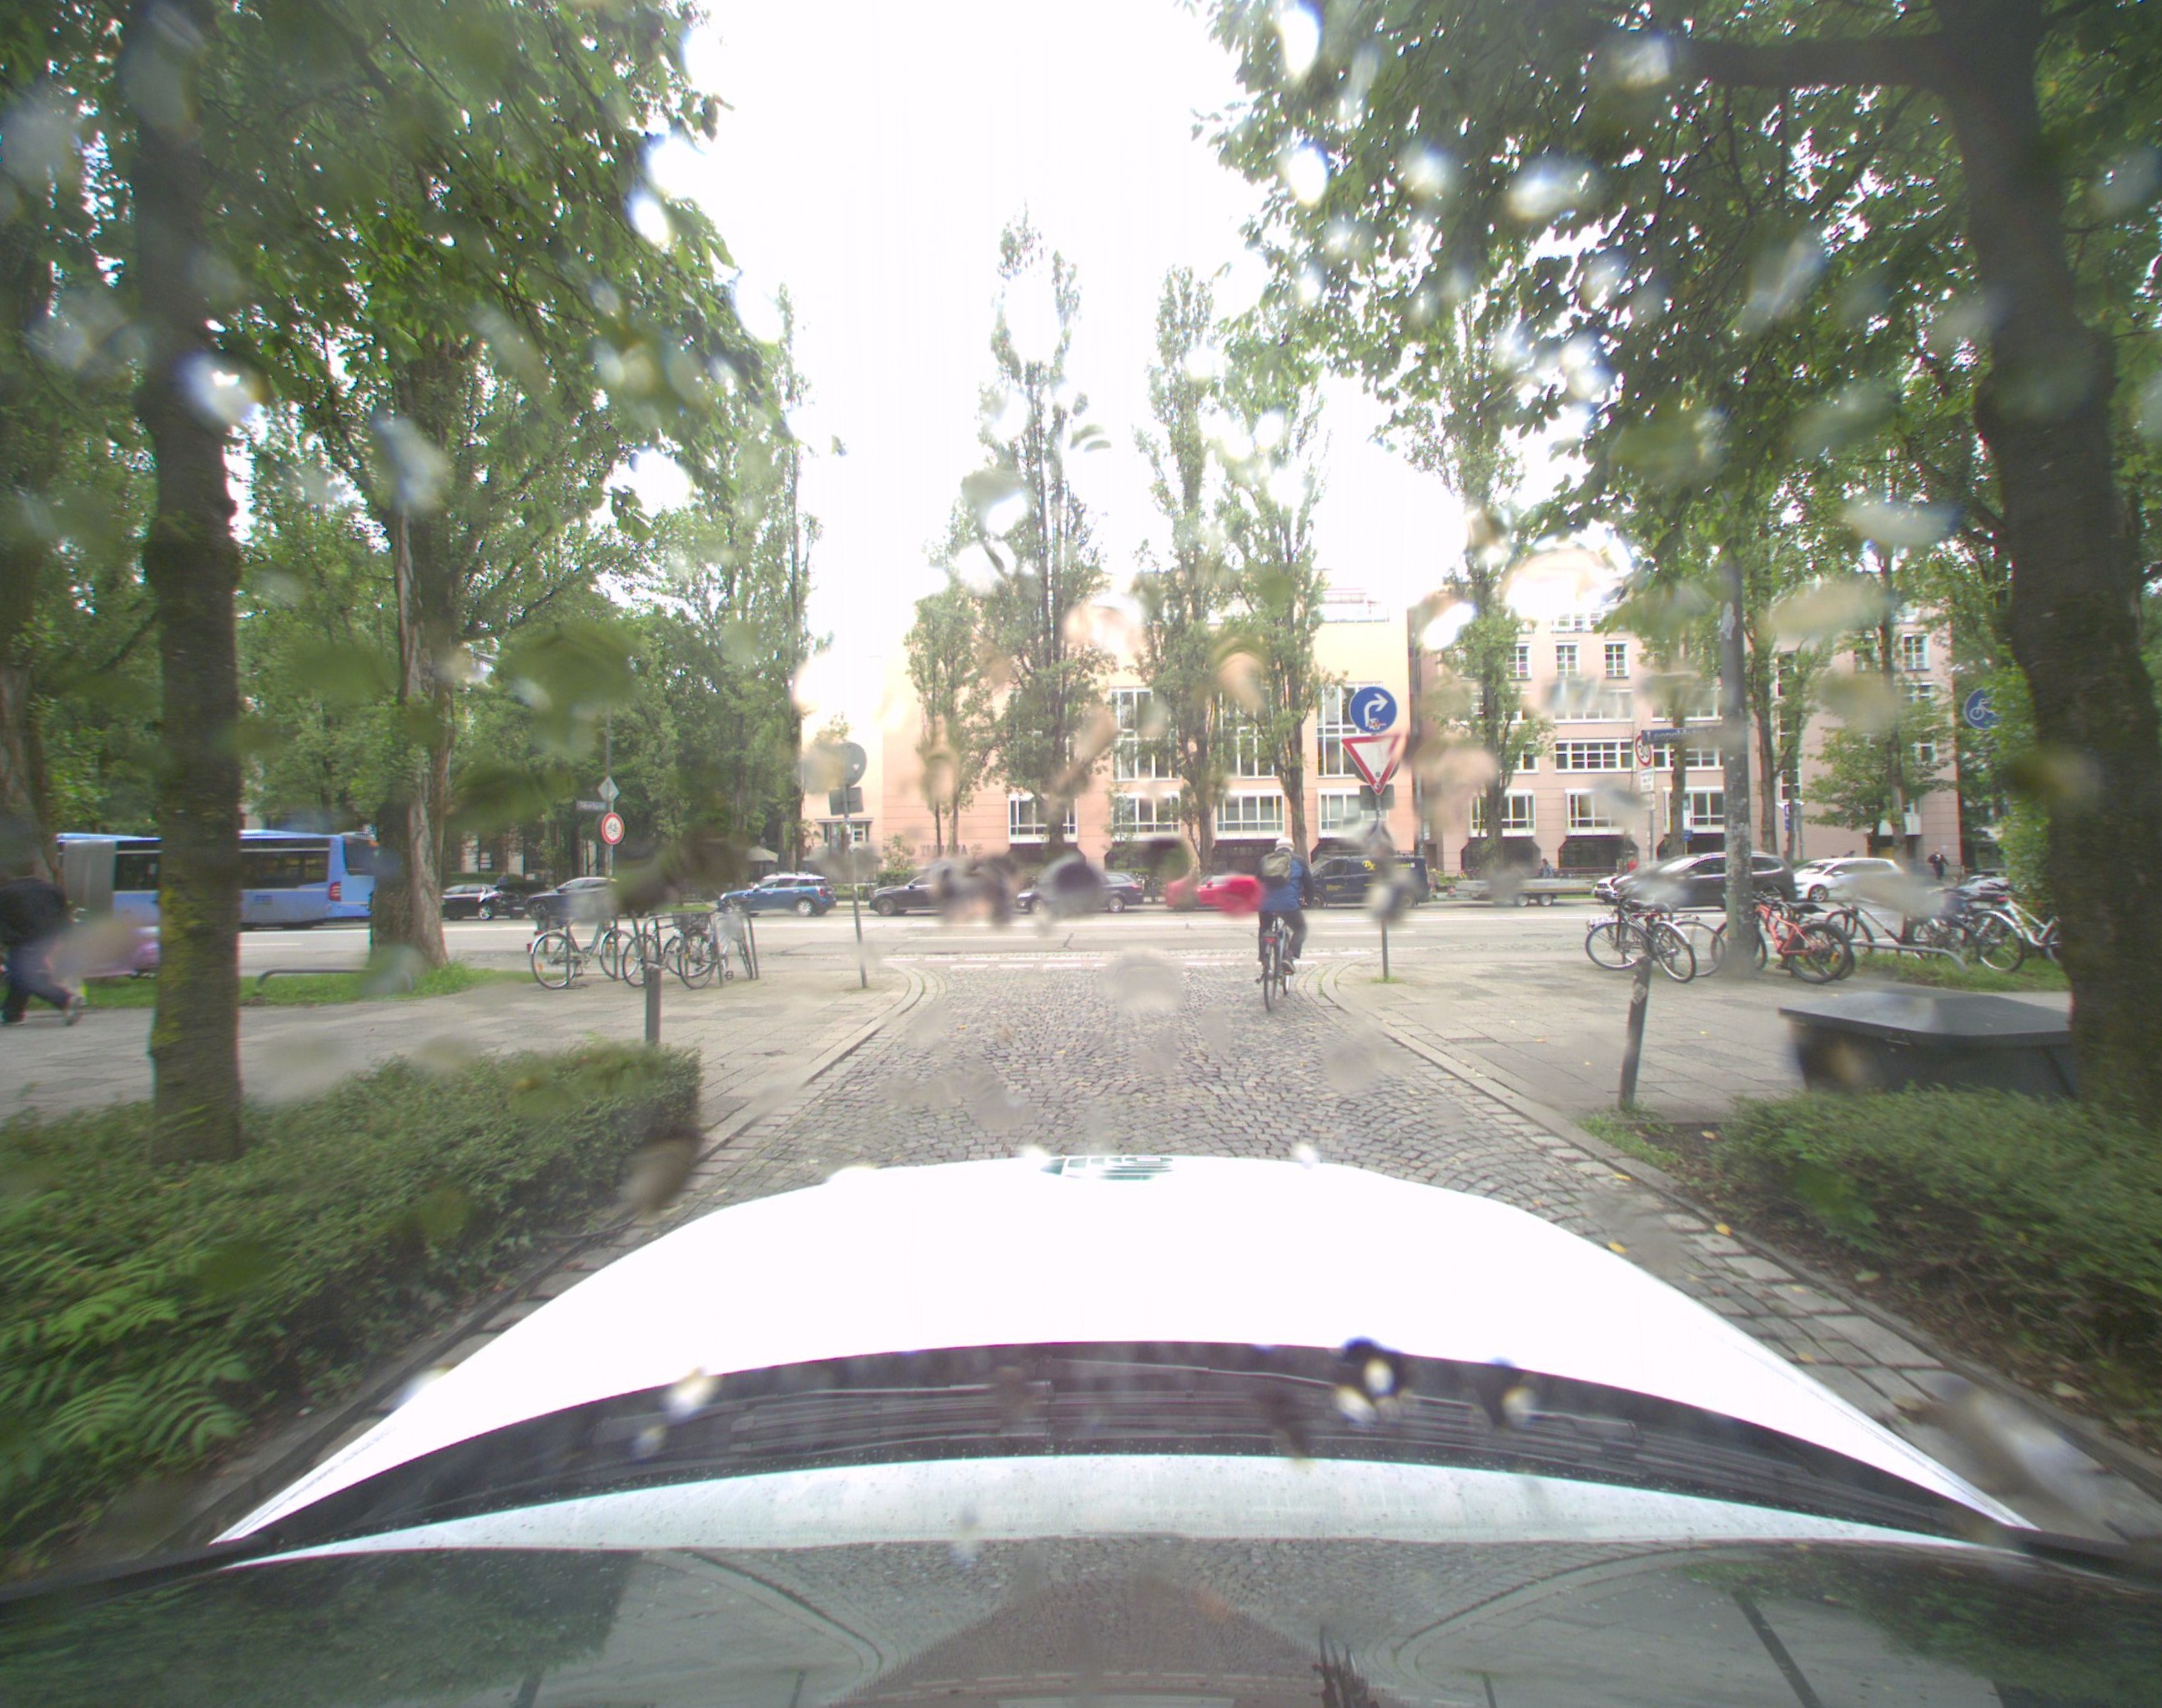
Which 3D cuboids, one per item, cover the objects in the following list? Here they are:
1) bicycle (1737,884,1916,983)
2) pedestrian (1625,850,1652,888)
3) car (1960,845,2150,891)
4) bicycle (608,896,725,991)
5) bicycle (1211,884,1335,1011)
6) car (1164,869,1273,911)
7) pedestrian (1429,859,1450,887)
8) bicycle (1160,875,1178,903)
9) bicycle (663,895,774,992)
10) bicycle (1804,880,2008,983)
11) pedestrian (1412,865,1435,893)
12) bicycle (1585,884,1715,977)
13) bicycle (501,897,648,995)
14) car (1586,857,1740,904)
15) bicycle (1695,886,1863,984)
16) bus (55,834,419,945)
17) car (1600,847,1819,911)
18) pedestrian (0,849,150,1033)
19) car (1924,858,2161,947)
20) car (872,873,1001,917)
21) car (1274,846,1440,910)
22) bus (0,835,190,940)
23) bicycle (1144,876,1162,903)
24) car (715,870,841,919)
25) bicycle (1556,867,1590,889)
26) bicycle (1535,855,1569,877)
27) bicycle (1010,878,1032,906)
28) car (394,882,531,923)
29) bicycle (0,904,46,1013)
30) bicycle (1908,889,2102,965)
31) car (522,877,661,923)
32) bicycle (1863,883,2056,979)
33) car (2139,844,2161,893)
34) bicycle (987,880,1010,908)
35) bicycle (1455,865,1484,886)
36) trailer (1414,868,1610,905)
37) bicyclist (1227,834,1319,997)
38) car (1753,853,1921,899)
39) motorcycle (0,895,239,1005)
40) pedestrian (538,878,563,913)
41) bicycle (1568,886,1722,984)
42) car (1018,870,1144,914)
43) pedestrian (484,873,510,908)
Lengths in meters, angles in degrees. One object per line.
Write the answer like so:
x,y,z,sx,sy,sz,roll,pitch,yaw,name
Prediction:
8.790,0.895,9.717,0.472,1.051,1.878,-1,-2,4,bicycle
25.451,0.680,37.202,0.726,1.714,0.710,-1,-1,3,pedestrian
35.125,0.513,29.478,4.292,1.542,2.001,-1,-1,3,car
-5.437,1.135,10.796,0.487,1.093,1.706,-1,-1,7,bicycle
2.088,0.917,8.638,0.710,1.148,1.912,-2,-2,31,bicycle
5.028,1.313,30.244,3.842,1.449,1.680,-1,-1,5,car
17.634,0.937,40.048,0.726,1.369,0.710,-1,-1,3,pedestrian
3.750,1.488,34.739,0.671,1.124,1.743,-1,-1,3,bicycle
-4.666,1.115,10.612,0.487,1.093,1.706,-1,-1,7,bicycle
9.794,0.869,9.789,0.509,1.105,1.931,-1,-2,2,bicycle
16.825,1.212,40.056,0.711,1.369,0.725,0,-2,-27,pedestrian
7.326,0.940,10.595,0.472,1.050,1.878,-1,-1,4,bicycle
-6.596,1.158,10.745,0.487,1.093,1.988,-1,-1,7,bicycle
21.111,0.981,29.682,4.201,1.542,1.808,-2,-3,4,car
8.304,0.921,9.806,0.472,1.051,1.878,-1,-2,4,bicycle
-26.090,1.067,25.462,8.457,3.052,2.928,-1,-1,2,bus
18.284,0.755,23.893,4.780,1.722,2.001,-1,-2,2,car
-10.189,0.829,8.058,0.952,1.711,0.858,-2,-1,0,pedestrian
18.076,0.817,14.343,4.411,1.427,1.759,-1,0,5,car
-5.391,1.530,30.804,4.482,1.529,1.794,-1,-1,2,car
10.142,0.888,30.284,5.457,2.197,2.025,-1,-1,2,car
-34.479,1.116,25.591,9.730,3.052,2.927,-1,-1,0,bus
3.056,1.500,34.751,0.671,1.124,1.743,-1,-1,3,bicycle
-11.408,1.522,30.867,4.051,1.732,1.793,-1,-3,0,car
26.029,1.277,43.126,0.671,1.124,1.990,-1,-1,3,bicycle
24.877,0.625,43.058,0.671,1.124,2.108,-1,-1,3,bicycle
-2.583,1.627,35.075,0.671,1.124,1.990,-1,-1,3,bicycle
-23.541,1.839,31.099,3.854,1.412,1.794,-1,-1,2,car
-12.721,1.177,9.094,1.604,1.189,0.583,-1,-1,2,bicycle
11.316,0.864,10.076,0.468,0.818,1.837,-1,-2,7,bicycle
-18.458,1.705,30.822,4.206,1.601,1.794,-1,-1,2,car
10.601,0.885,9.933,0.509,1.038,1.837,-1,-2,7,bicycle
41.743,0.470,29.251,4.728,1.797,2.000,-1,-1,1,car
-3.524,1.709,34.838,0.671,1.124,1.990,-1,-1,3,bicycle
20.727,1.143,43.504,0.671,1.124,1.990,-1,-1,3,bicycle
15.840,1.189,30.218,5.993,1.199,2.406,-1,-1,3,trailer
2.029,0.619,8.576,0.715,1.619,0.761,-2,-1,30,bicyclist
27.542,0.793,29.774,4.297,1.542,1.999,-1,-1,-1,car
-12.116,1.162,10.289,2.002,1.196,0.622,-1,-1,-42,motorcycle
-26.294,2.062,40.388,0.726,1.714,0.710,-1,-1,3,pedestrian
6.791,0.925,9.935,0.473,1.051,1.874,-1,-2,-3,bicycle
0.039,1.410,30.606,4.590,1.529,1.794,-1,-1,2,car
-28.556,1.771,39.801,0.726,1.714,0.710,-1,-1,3,pedestrian
